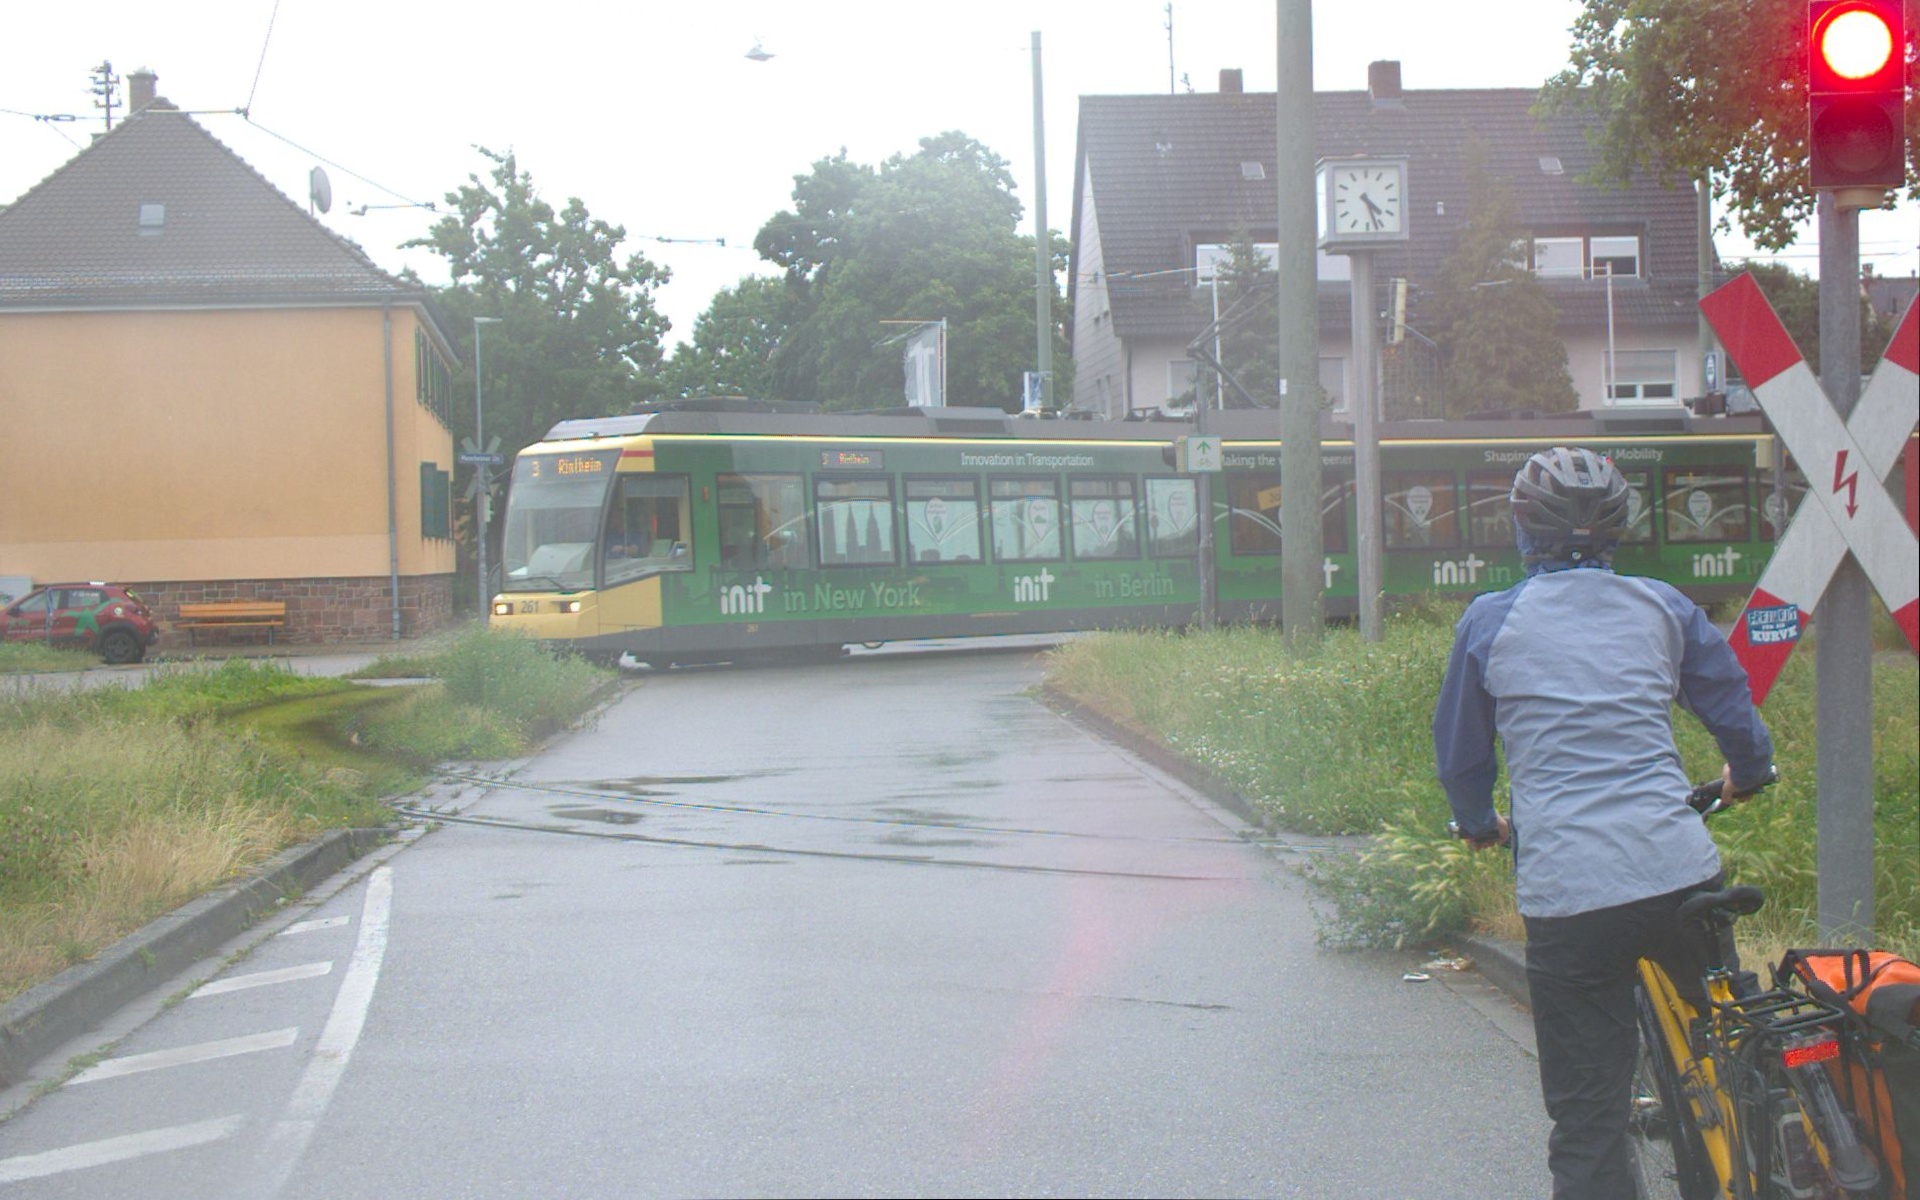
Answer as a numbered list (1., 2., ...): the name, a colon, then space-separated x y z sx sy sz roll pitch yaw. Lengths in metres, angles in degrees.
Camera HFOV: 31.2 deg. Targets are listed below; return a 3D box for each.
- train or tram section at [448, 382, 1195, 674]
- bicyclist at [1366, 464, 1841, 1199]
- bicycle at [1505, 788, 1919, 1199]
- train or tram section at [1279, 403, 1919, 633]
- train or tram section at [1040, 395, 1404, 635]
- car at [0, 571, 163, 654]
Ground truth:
1. train or tram section: -1.488 -1.090 47.333 2.767 3.540 12.176 1 3 40
2. bicyclist: 1.144 0.579 6.275 0.667 1.620 0.853 1 0 -2
3. bicycle: 1.352 0.902 6.070 0.446 1.001 1.728 -1 1 -2
4. train or tram section: 11.784 -1.270 56.815 13.086 3.541 2.770 0 1 -21
5. train or tram section: 4.070 -1.282 53.162 4.973 3.541 2.769 0 1 -37
6. car: -16.662 0.218 62.596 3.986 1.451 1.834 1 0 -6
